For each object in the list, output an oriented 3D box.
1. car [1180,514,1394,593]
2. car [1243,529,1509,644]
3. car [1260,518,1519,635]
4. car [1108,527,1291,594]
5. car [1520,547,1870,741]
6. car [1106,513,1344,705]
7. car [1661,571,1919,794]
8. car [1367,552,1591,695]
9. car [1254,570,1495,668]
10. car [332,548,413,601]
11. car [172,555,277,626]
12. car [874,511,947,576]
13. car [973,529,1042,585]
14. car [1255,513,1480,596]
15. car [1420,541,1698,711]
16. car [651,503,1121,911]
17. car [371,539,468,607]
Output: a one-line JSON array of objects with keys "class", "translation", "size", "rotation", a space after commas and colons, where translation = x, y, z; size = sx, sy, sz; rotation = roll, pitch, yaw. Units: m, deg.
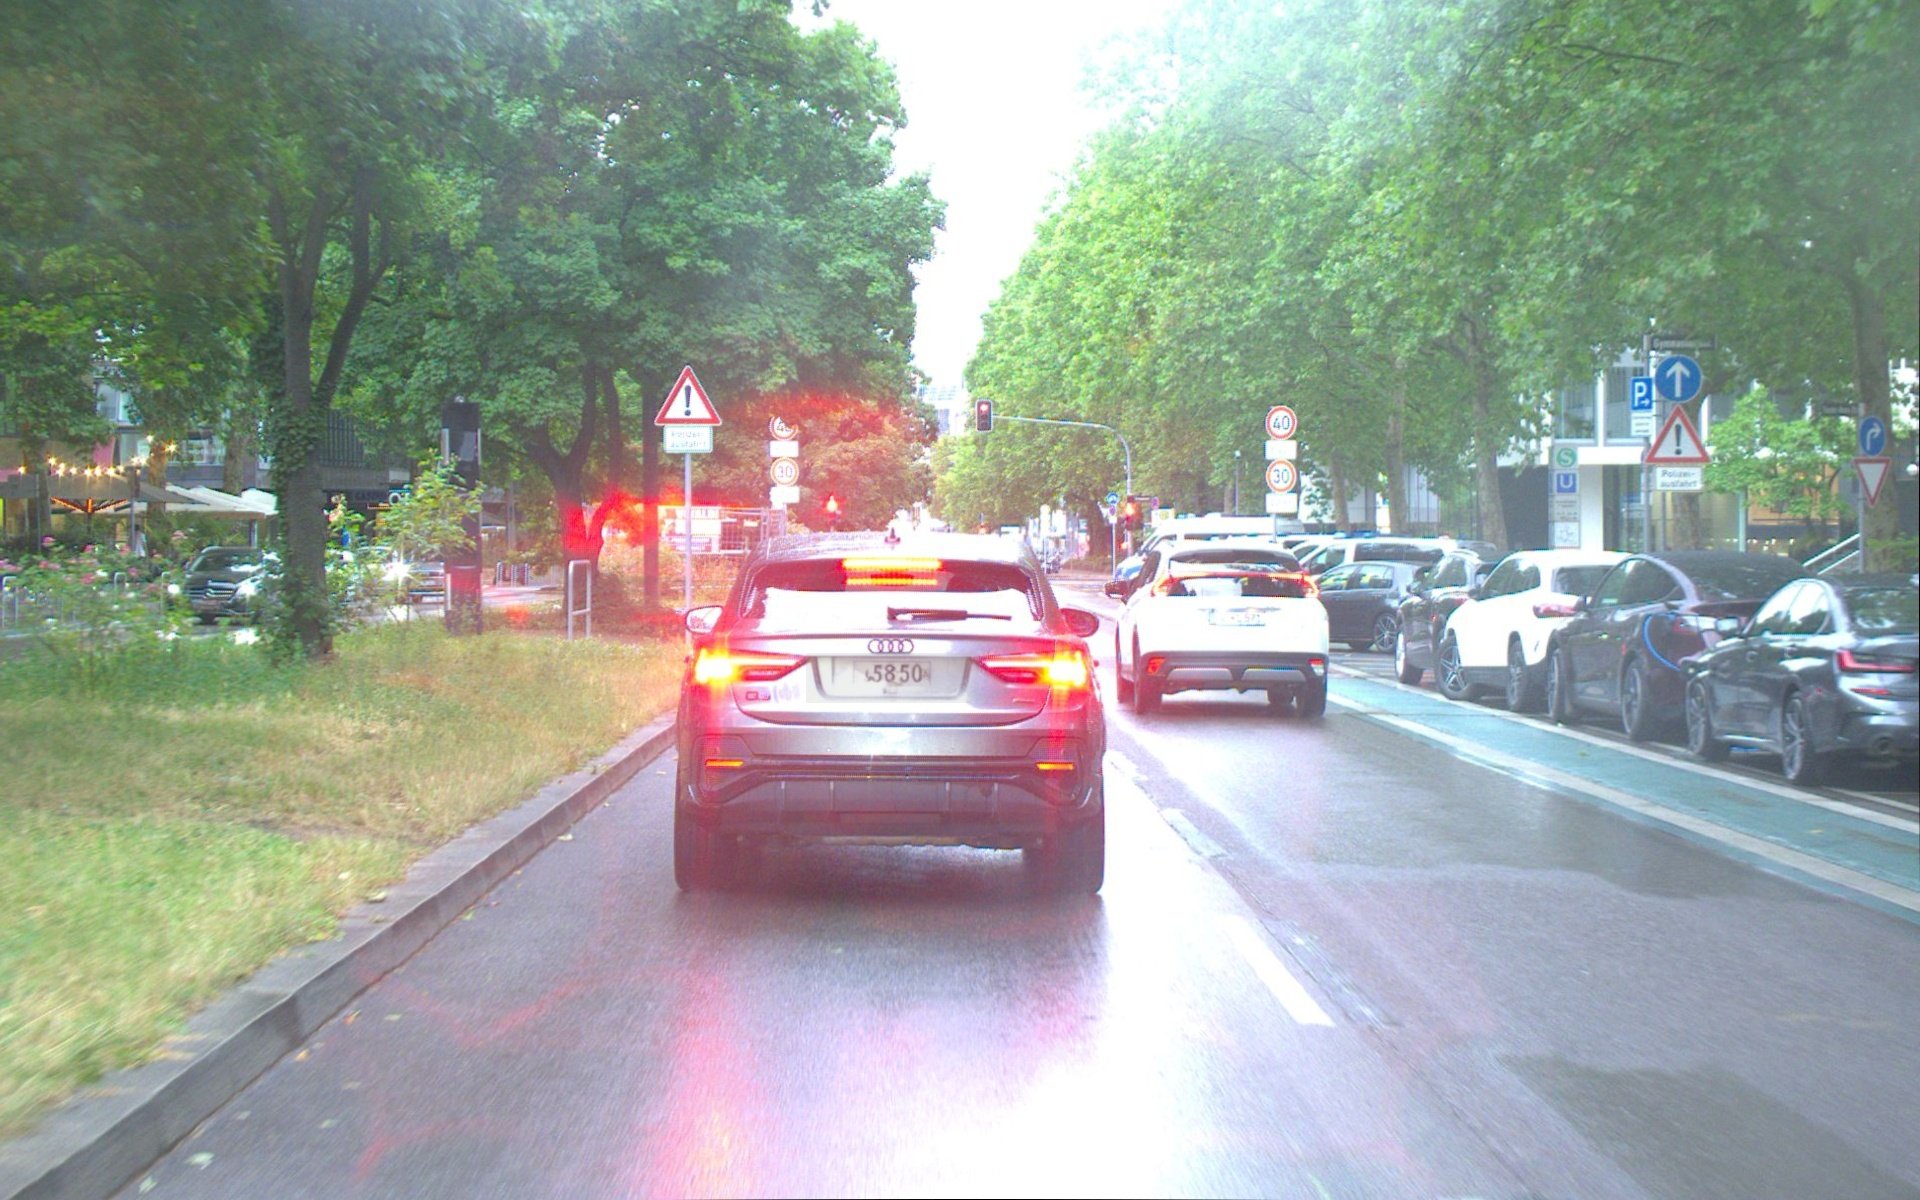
[{"class": "car", "translation": [7.845, -1.125, 82.584], "size": [4.645, 1.700, 1.997], "rotation": [2, 0, 27]}, {"class": "car", "translation": [7.897, -0.276, 65.482], "size": [4.602, 2.007, 1.964], "rotation": [2, 0, 37]}, {"class": "car", "translation": [8.924, -0.495, 71.554], "size": [4.889, 2.246, 1.997], "rotation": [2, 0, 28]}, {"class": "car", "translation": [6.725, -1.104, 96.614], "size": [4.645, 1.700, 1.997], "rotation": [2, 0, 27]}, {"class": "car", "translation": [6.376, 0.352, 30.344], "size": [1.867, 1.515, 4.559], "rotation": [2, 0, -3]}, {"class": "car", "translation": [2.512, 0.079, 33.477], "size": [1.878, 1.691, 4.000], "rotation": [2, 0, -1]}, {"class": "car", "translation": [6.468, 0.539, 24.512], "size": [1.873, 1.416, 4.611], "rotation": [2, 0, -1]}, {"class": "car", "translation": [5.989, 0.247, 40.065], "size": [1.695, 1.518, 4.024], "rotation": [2, 0, -4]}, {"class": "car", "translation": [6.422, 0.276, 53.574], "size": [1.558, 1.374, 3.870], "rotation": [2, 0, -33]}, {"class": "car", "translation": [-17.823, -0.769, 104.409], "size": [1.726, 1.513, 4.000], "rotation": [2, 0, 0]}, {"class": "car", "translation": [-13.932, -0.188, 65.252], "size": [1.688, 1.253, 3.645], "rotation": [2, 0, -9]}, {"class": "car", "translation": [-1.441, -1.608, 98.766], "size": [1.993, 1.721, 4.000], "rotation": [2, 0, -2]}, {"class": "car", "translation": [1.458, -1.320, 107.074], "size": [1.993, 1.645, 4.000], "rotation": [2, 0, -1]}, {"class": "car", "translation": [9.301, -1.033, 78.495], "size": [4.645, 1.700, 1.997], "rotation": [2, 0, 27]}, {"class": "car", "translation": [6.033, 0.243, 35.065], "size": [1.727, 1.566, 4.074], "rotation": [2, 0, -5]}, {"class": "car", "translation": [-0.362, 0.410, 15.793], "size": [1.849, 1.596, 4.000], "rotation": [1, 1, -2]}, {"class": "car", "translation": [-14.387, -0.703, 91.749], "size": [1.760, 1.698, 4.333], "rotation": [2, 0, 1]}]
